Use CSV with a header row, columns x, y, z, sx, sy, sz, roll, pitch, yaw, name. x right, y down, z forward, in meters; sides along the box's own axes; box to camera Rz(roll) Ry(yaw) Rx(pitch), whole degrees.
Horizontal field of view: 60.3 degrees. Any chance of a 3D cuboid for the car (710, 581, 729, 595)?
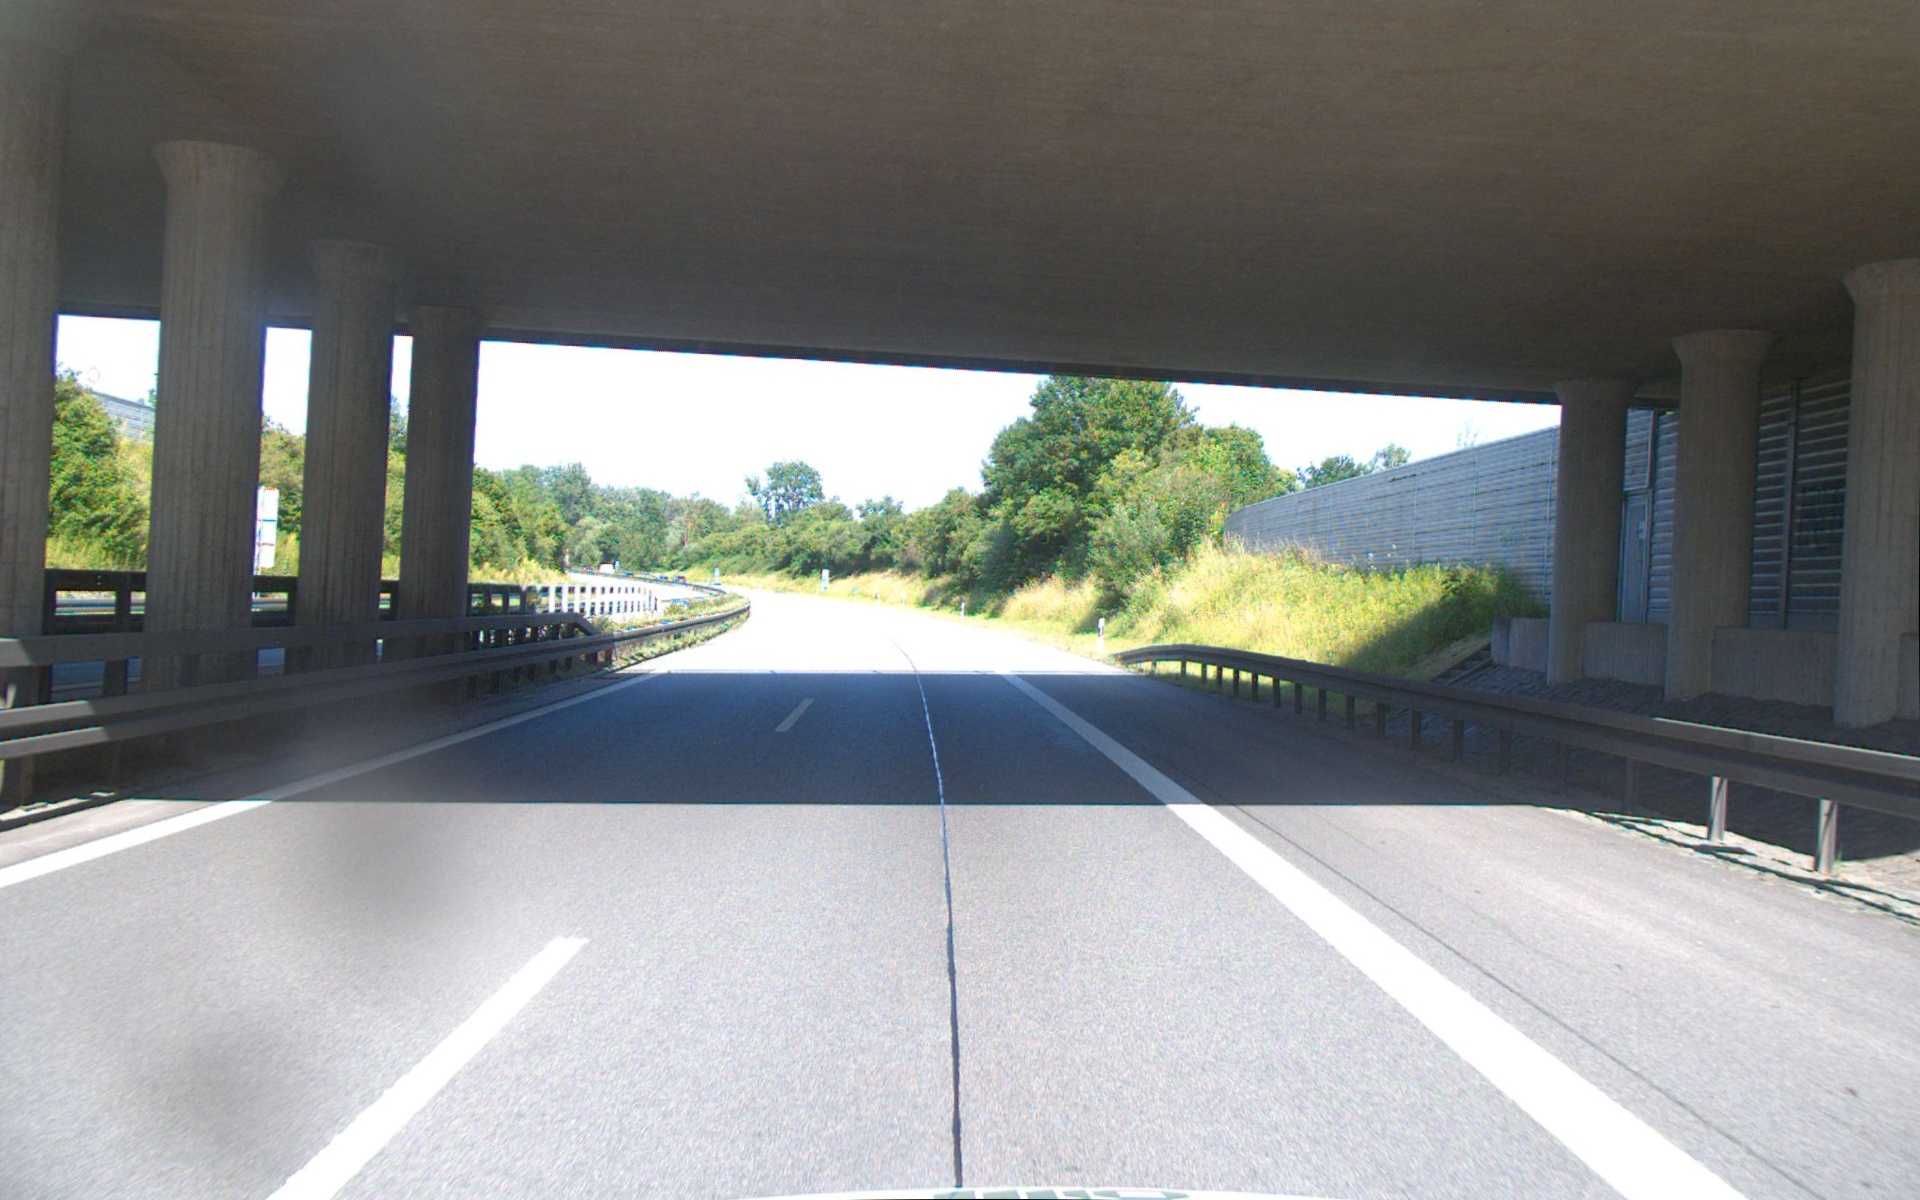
x,y,z,sx,sy,sz,roll,pitch,yaw,name
-30.861,-1.484,212.188,2.027,1.653,3.984,2,-1,-15,car
